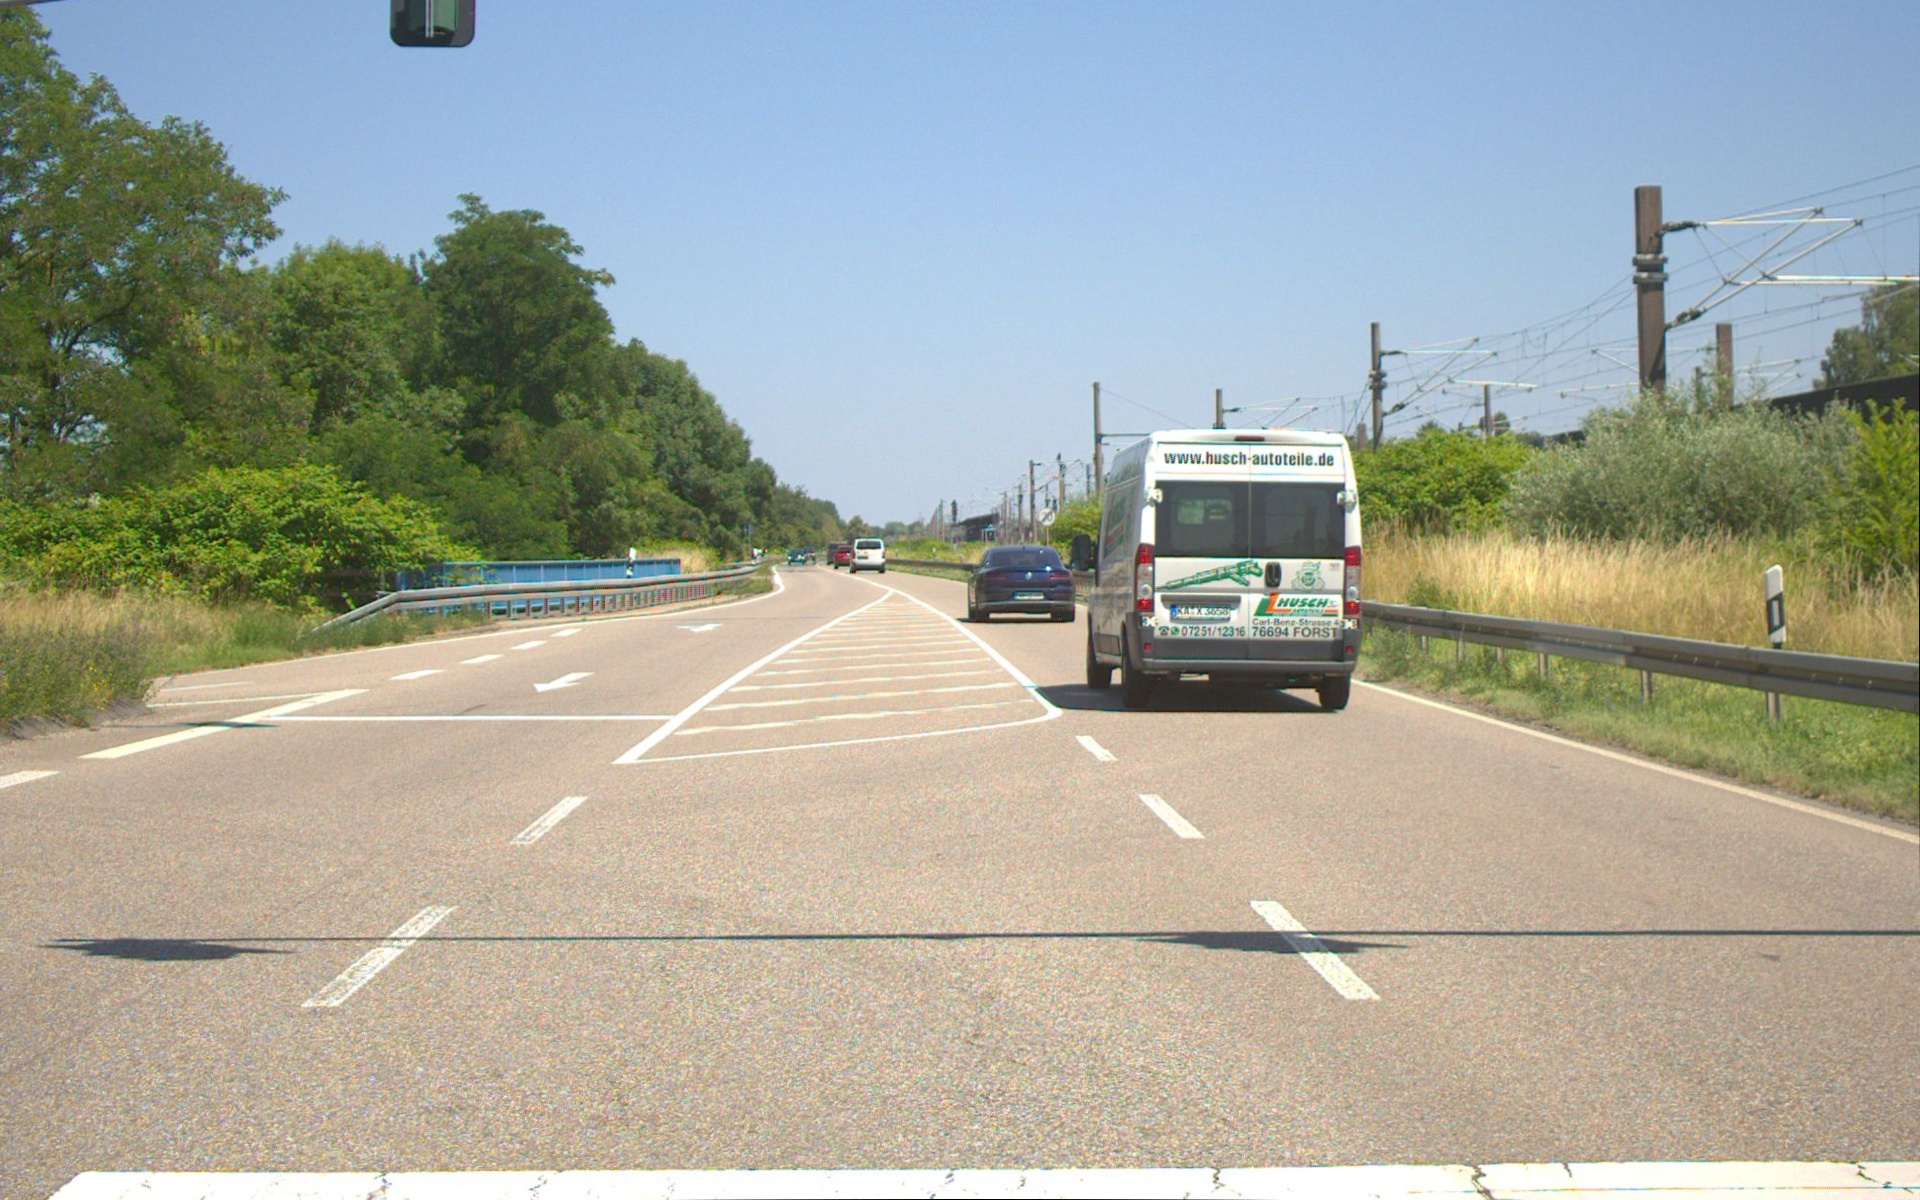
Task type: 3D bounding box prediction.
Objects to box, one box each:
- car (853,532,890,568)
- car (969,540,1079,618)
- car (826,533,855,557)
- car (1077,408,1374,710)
[{"bbox_3d":[-4.998,-2.829,193.180,1.993,1.977,4.060,1,1,-2],"label":"car"},{"bbox_3d":[1.162,-0.414,64.011,1.856,1.375,4.504,1,1,-1],"label":"car"},{"bbox_3d":[-8.519,-3.905,244.992,2.019,1.720,4.543,0,1,-3],"label":"car"},{"bbox_3d":[2.414,-0.426,33.113,2.188,2.595,6.751,1,1,-1],"label":"car"}]
